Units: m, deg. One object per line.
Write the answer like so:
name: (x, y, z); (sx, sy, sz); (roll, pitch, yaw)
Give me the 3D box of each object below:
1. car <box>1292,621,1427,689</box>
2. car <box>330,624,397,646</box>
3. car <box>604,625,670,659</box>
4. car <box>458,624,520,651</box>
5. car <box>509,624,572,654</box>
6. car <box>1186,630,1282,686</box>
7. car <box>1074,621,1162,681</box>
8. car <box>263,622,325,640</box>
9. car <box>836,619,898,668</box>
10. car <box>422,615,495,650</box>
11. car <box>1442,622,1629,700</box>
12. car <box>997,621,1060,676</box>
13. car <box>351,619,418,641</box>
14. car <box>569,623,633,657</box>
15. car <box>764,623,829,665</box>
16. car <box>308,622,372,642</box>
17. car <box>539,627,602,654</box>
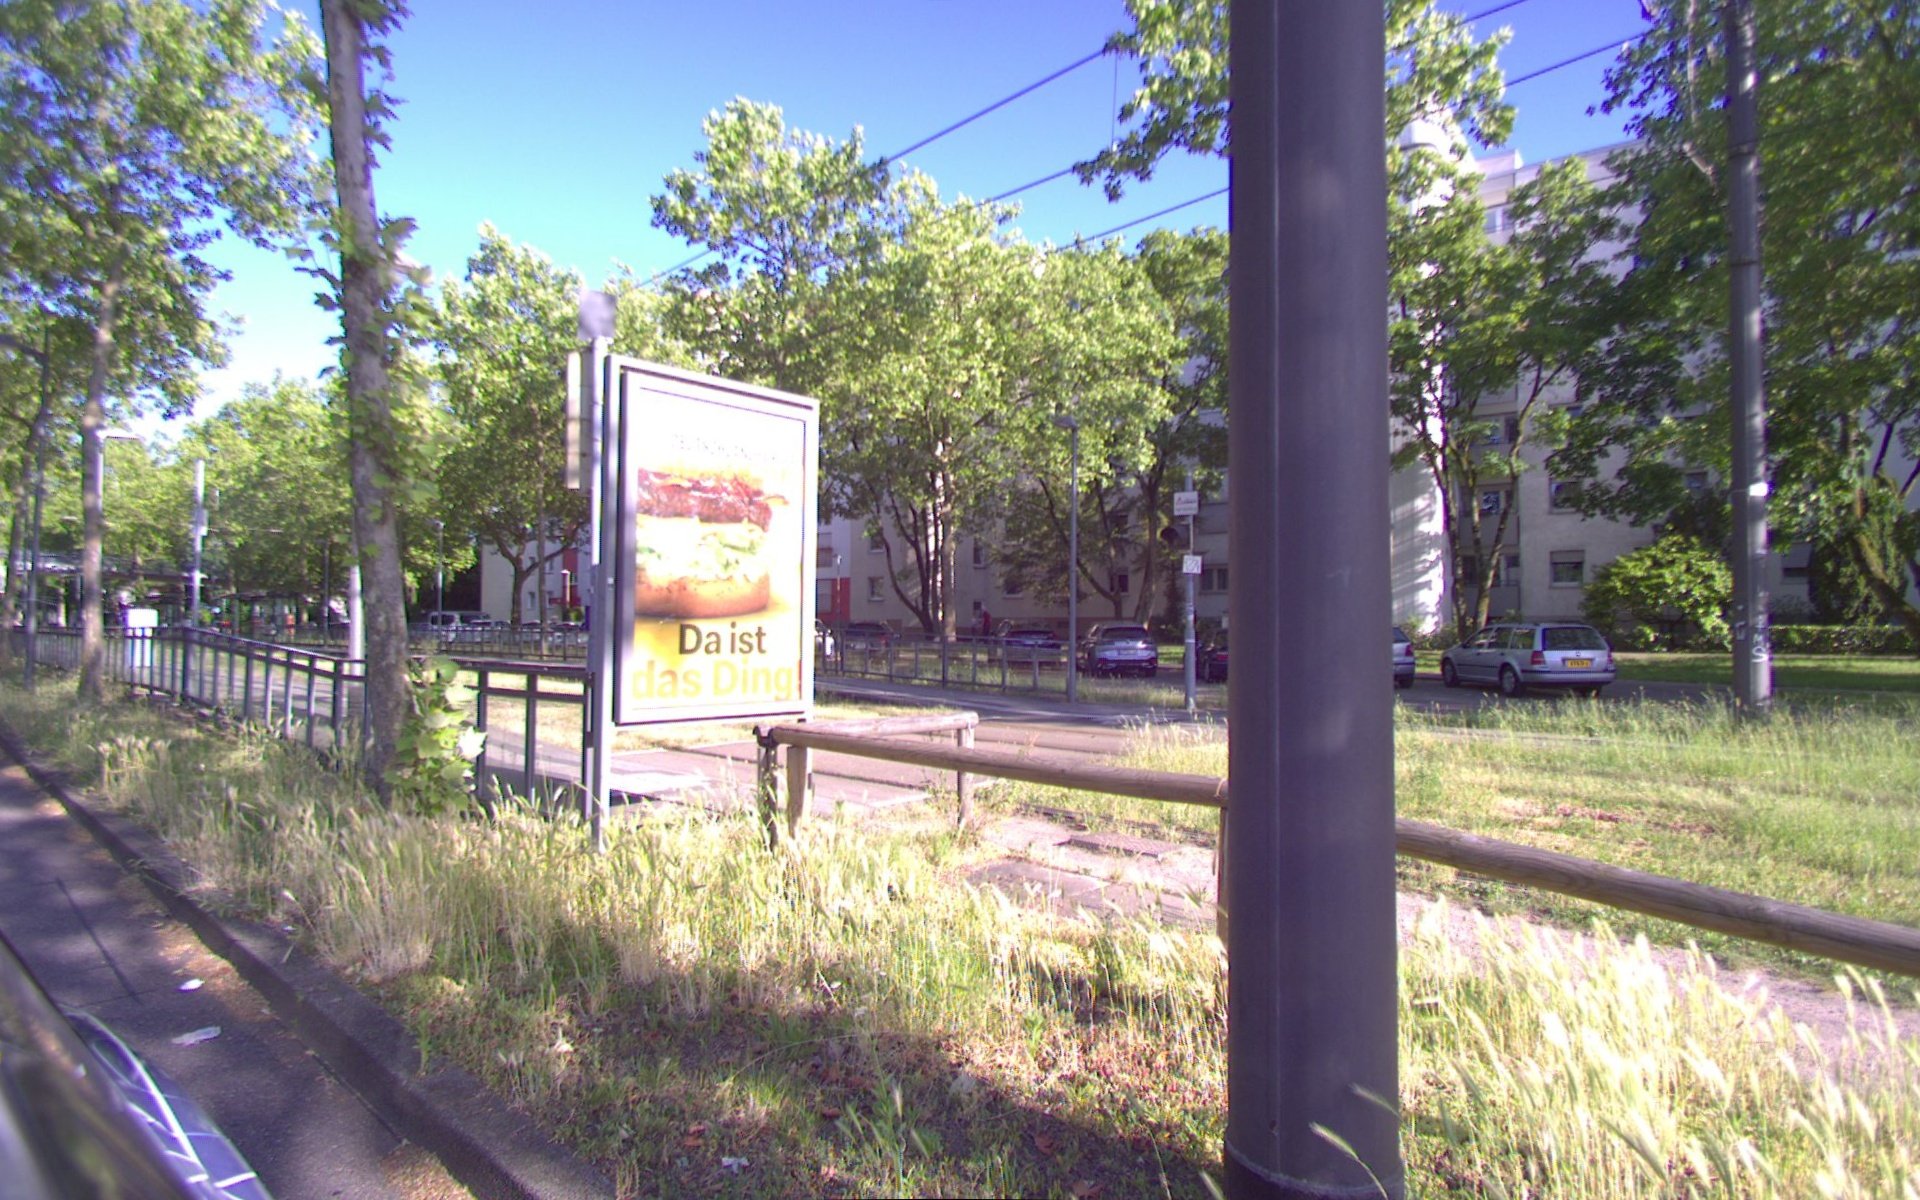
car: (9.156, 1.214, 23.523); (1.679, 1.444, 3.681); (0, -1, 1)
car: (-40.246, 2.334, 68.439); (1.898, 1.386, 4.365); (0, -1, 1)
car: (-14.081, 1.811, 44.275); (1.627, 1.403, 3.679); (0, -1, 2)
car: (-25.796, 2.025, 55.513); (1.627, 1.407, 3.680); (0, -1, 1)
car: (-21.122, 1.950, 51.128); (1.627, 1.460, 3.680); (0, -1, 1)
car: (6.732, 1.395, 25.202); (1.602, 1.256, 3.677); (0, -1, 4)
car: (4.209, 1.340, 27.488); (1.894, 1.507, 3.680); (0, -1, 2)
car: (-52.145, 2.392, 79.358); (1.898, 1.386, 4.365); (0, -1, 1)
car: (-3.105, 1.451, 34.463); (1.664, 1.579, 3.679); (0, -1, 2)
car: (-28.325, 1.816, 57.322); (1.898, 1.898, 4.365); (0, -1, 1)
car: (11.551, 1.171, 20.624); (1.707, 1.444, 3.681); (0, -1, 1)
car: (1.936, 1.361, 29.441); (1.664, 1.482, 3.680); (0, -1, 1)
car: (-37.868, 1.968, 66.691); (1.898, 1.386, 4.365); (0, -1, 1)
car: (-16.680, 1.834, 47.131); (1.627, 1.460, 3.680); (0, -1, 1)
car: (-5.907, 1.564, 36.913); (1.664, 1.444, 3.679); (0, -1, 2)
car: (-44.643, 2.270, 72.978); (1.898, 1.386, 4.365); (0, -1, 1)
car: (-19.044, 1.972, 49.661); (1.627, 1.251, 3.680); (0, -1, 1)
